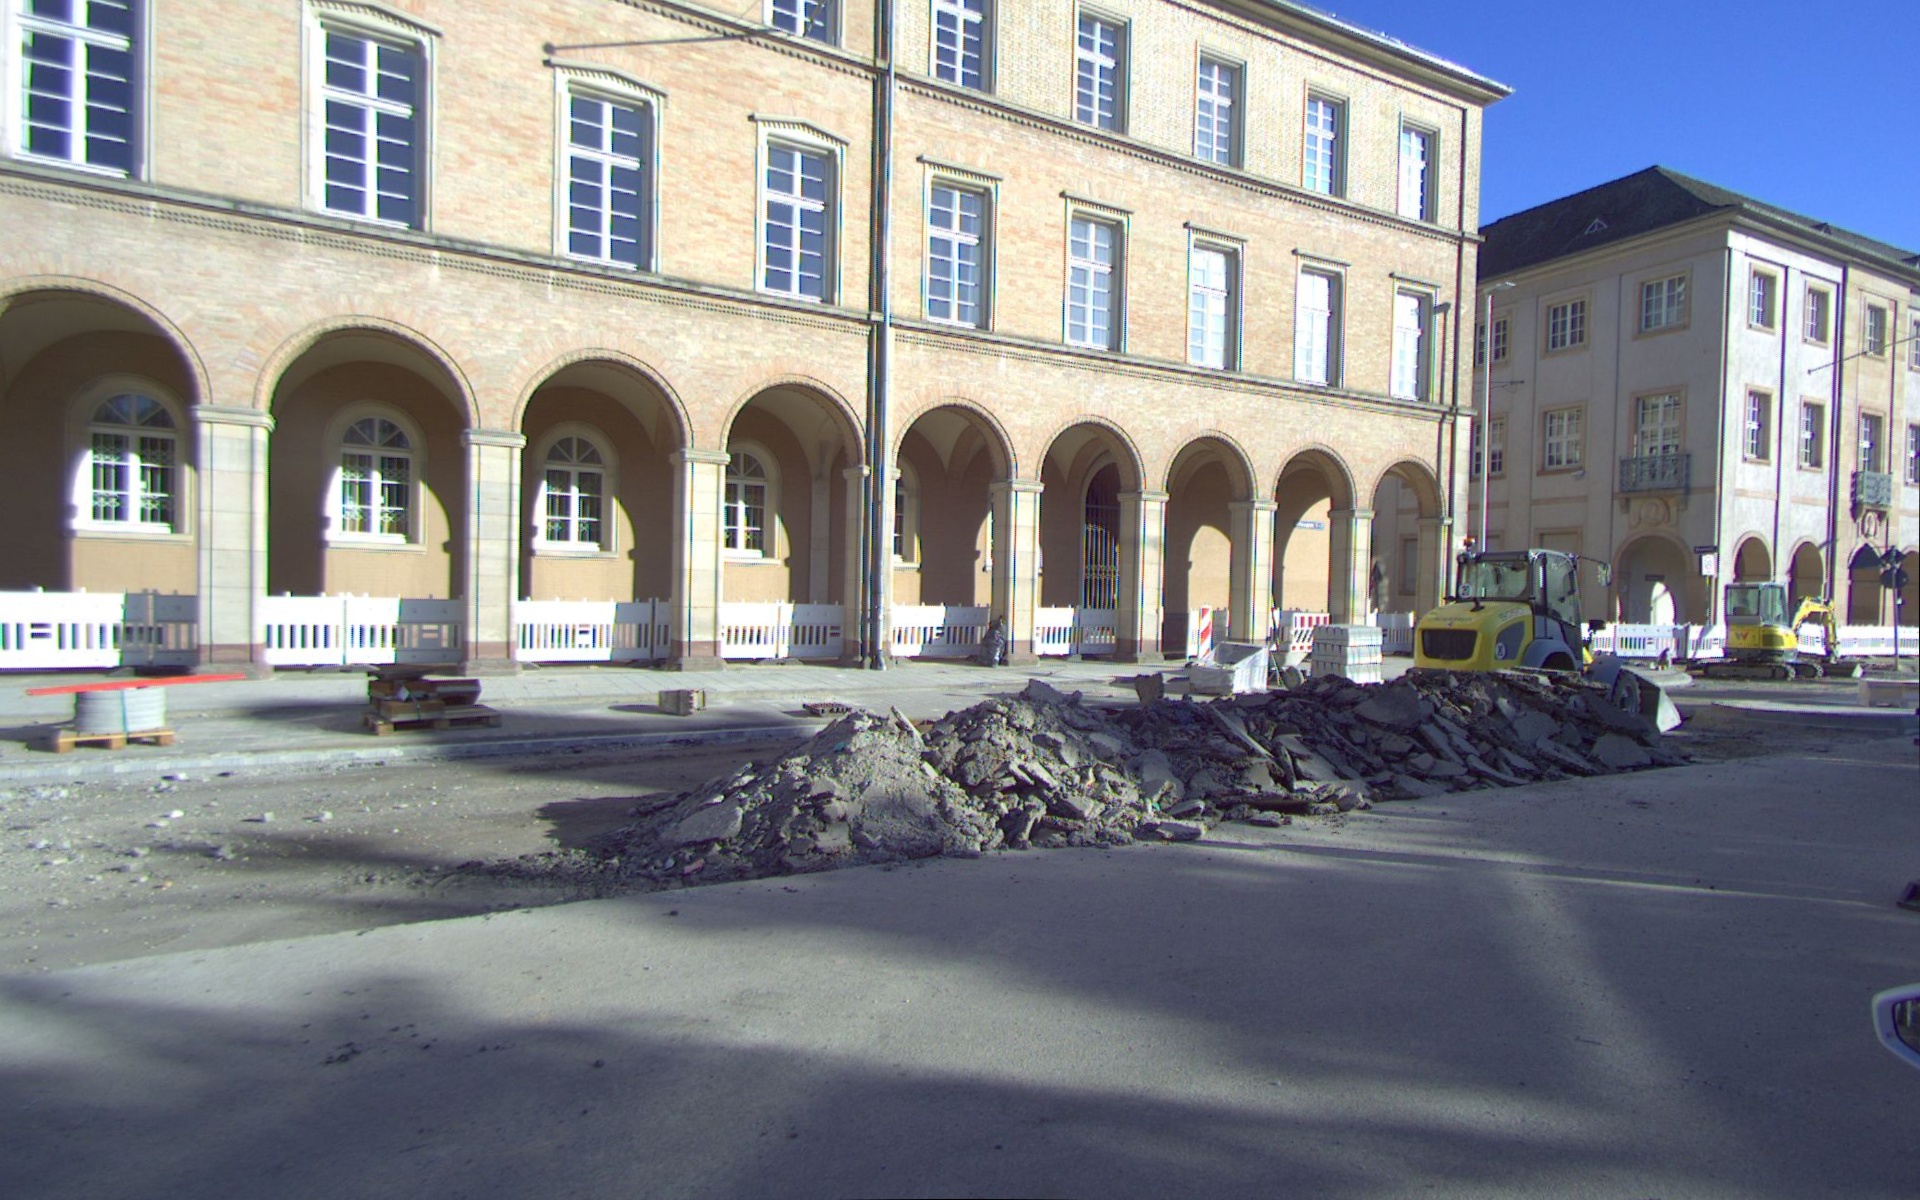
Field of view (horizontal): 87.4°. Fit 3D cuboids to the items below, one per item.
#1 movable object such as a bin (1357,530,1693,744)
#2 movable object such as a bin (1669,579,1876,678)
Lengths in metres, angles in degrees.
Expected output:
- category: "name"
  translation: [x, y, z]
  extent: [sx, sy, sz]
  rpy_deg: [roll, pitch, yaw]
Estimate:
- category: "movable object such as a bin"
  translation: [7.832, 0.411, 13.833]
  extent: [4.564, 2.509, 2.063]
  rpy_deg: [0, 1, -32]
- category: "movable object such as a bin"
  translation: [21.253, 0.712, 26.310]
  extent: [4.400, 2.380, 2.538]
  rpy_deg: [1, 0, -25]
